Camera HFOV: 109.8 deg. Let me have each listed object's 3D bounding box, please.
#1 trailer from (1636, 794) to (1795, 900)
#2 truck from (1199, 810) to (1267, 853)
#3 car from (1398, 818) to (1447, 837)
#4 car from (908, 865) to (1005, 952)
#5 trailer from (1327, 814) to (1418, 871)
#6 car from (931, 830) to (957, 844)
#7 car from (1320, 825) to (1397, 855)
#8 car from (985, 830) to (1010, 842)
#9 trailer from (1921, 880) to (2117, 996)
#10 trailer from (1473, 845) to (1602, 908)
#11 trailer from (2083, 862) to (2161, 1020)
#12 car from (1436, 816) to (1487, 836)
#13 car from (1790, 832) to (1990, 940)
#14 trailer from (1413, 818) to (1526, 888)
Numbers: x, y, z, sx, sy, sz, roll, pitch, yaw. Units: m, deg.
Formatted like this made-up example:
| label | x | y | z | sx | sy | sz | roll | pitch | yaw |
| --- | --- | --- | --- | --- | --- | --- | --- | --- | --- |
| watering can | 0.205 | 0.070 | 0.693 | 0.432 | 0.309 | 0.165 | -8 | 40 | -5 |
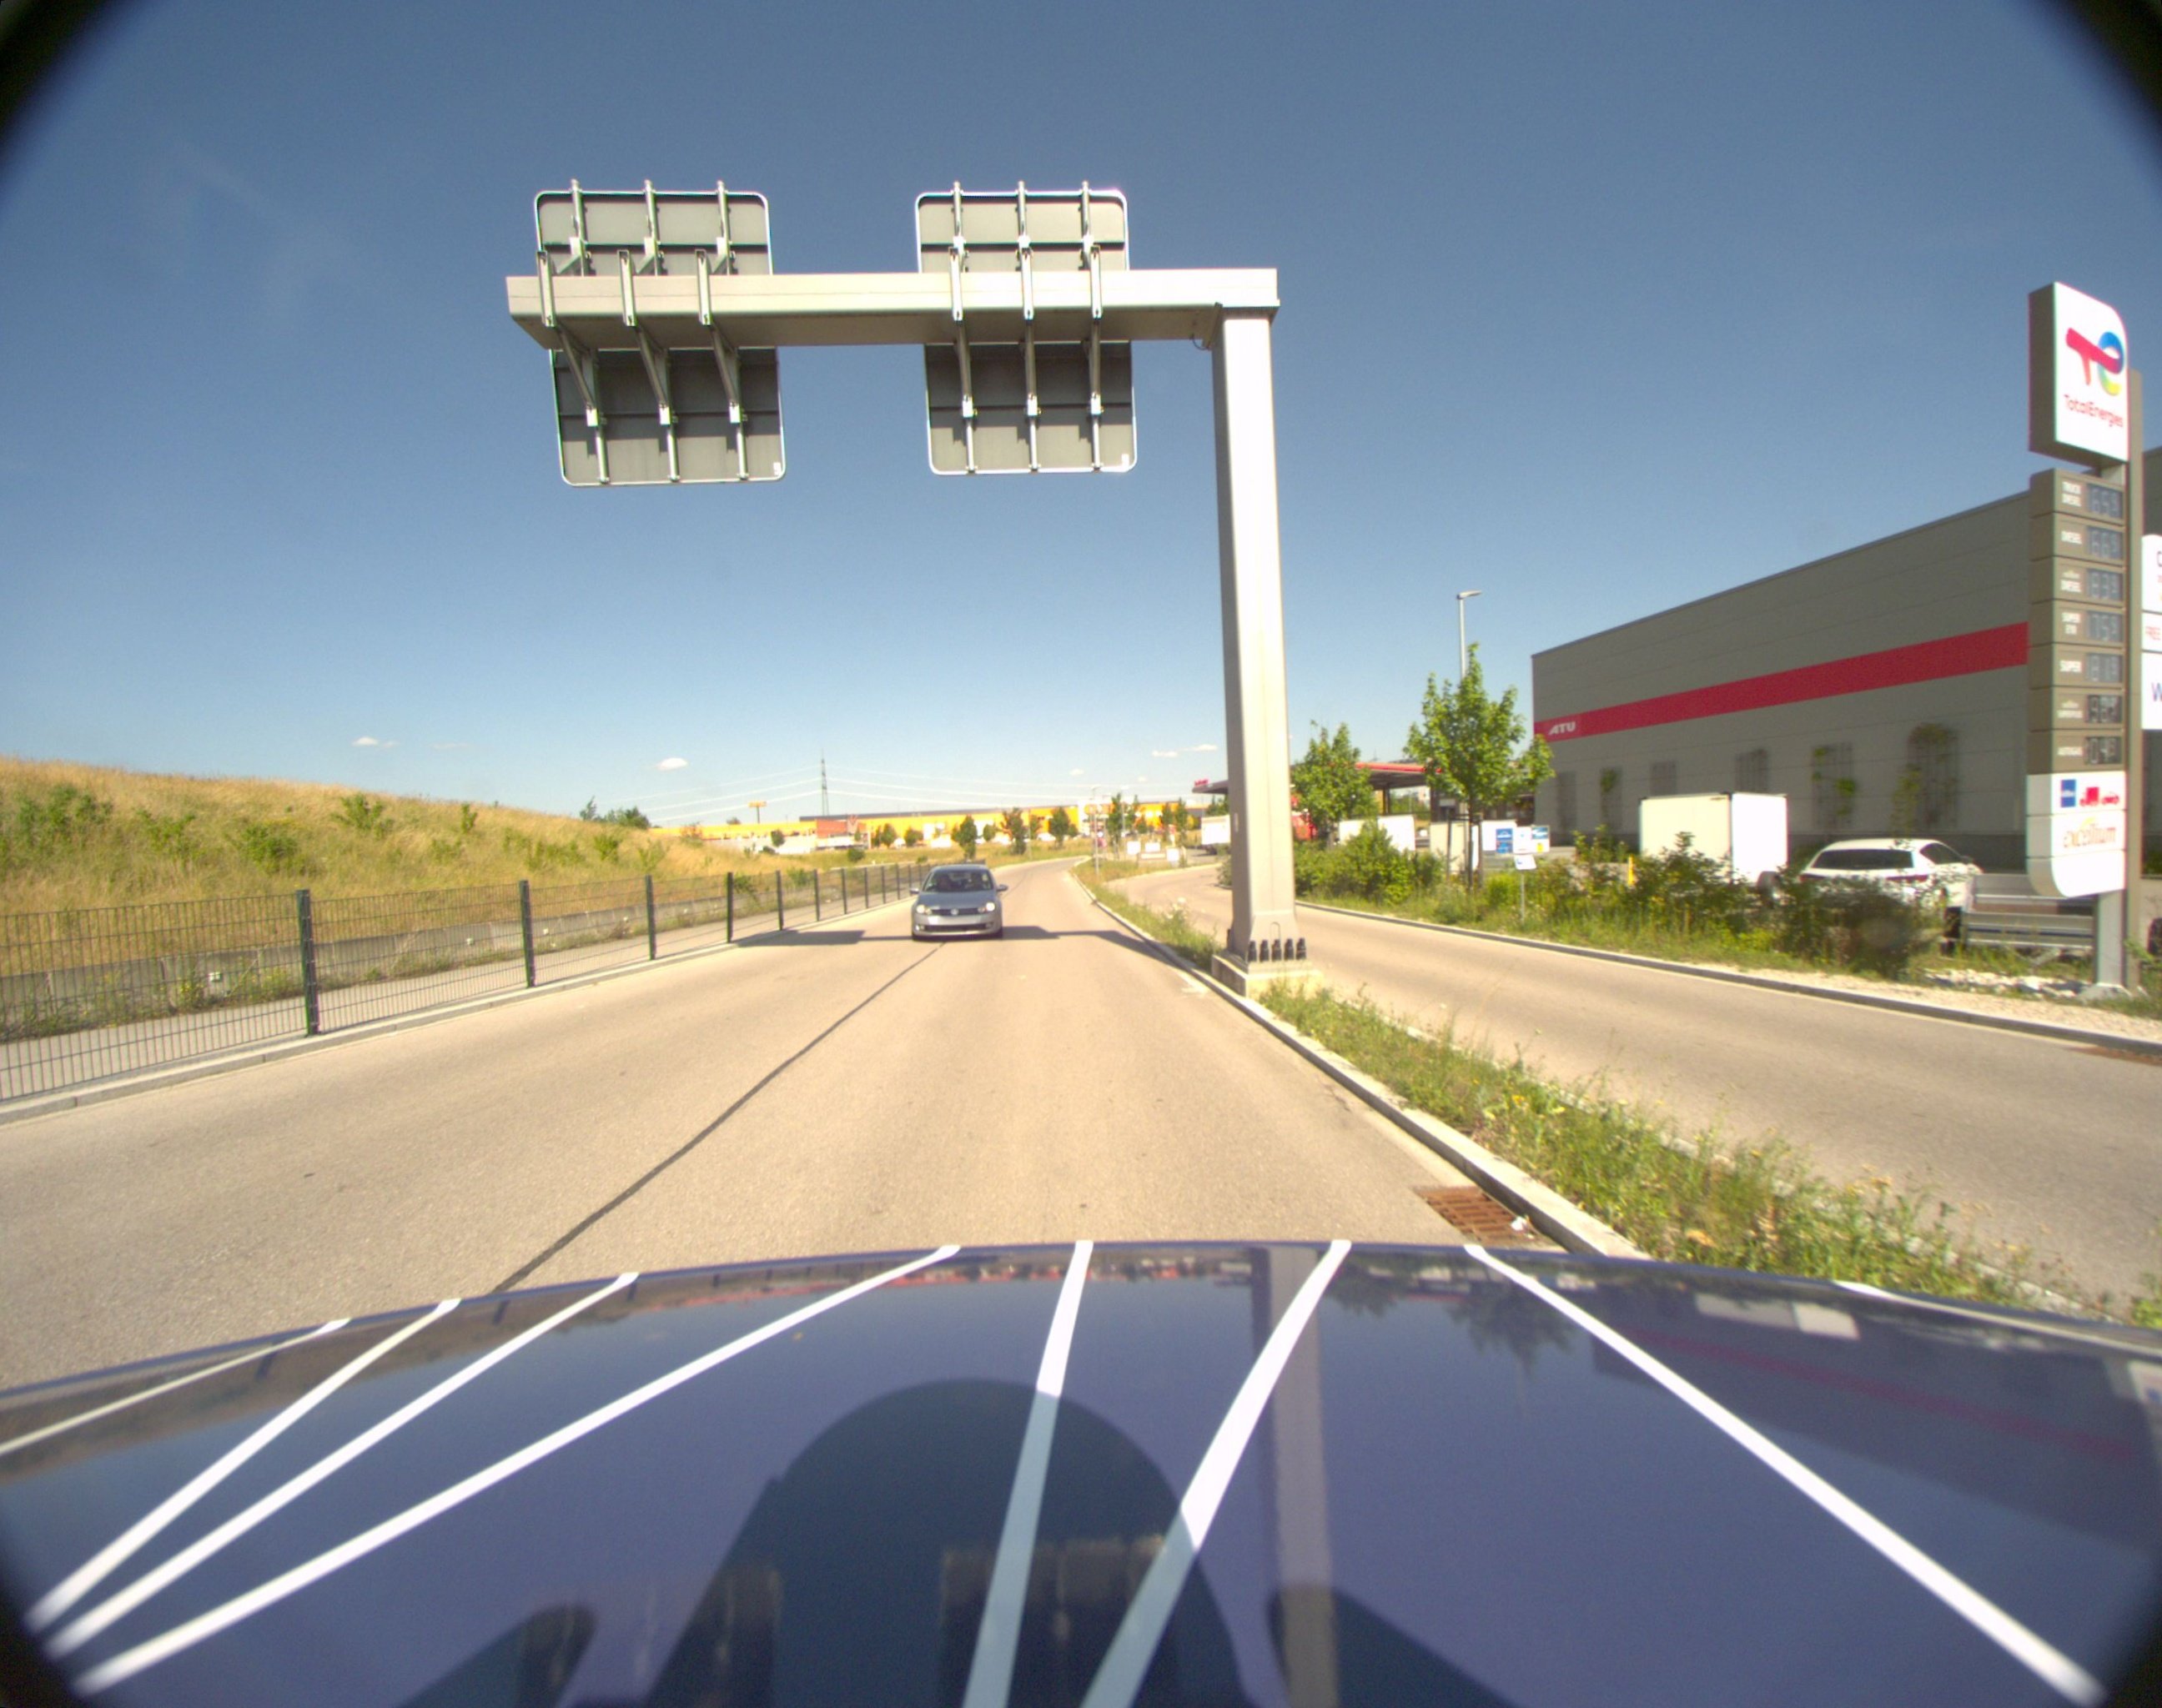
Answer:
| label | x | y | z | sx | sy | sz | roll | pitch | yaw |
| --- | --- | --- | --- | --- | --- | --- | --- | --- | --- |
| trailer | 13.601 | -0.197 | 16.256 | 3.245 | 2.002 | 1.743 | -4 | 2 | -34 |
| truck | 12.750 | -1.908 | 63.170 | 2.634 | 3.299 | 6.918 | -2 | 2 | 37 |
| car | 33.079 | -2.589 | 73.638 | 3.935 | 1.565 | 1.794 | -3 | 1 | -6 |
| car | -2.637 | 1.019 | 15.928 | 1.748 | 1.459 | 3.956 | -1 | 1 | -11 |
| trailer | 11.434 | -0.456 | 29.743 | 3.212 | 2.002 | 1.995 | -4 | 2 | -42 |
| car | -26.492 | -3.319 | 147.098 | 4.636 | 2.534 | 1.998 | -3 | 2 | -8 |
| car | 18.800 | -0.965 | 51.610 | 4.520 | 1.748 | 1.794 | -3 | 1 | -7 |
| car | -16.279 | -3.527 | 147.965 | 4.636 | 2.002 | 1.998 | -3 | 1 | -8 |
| trailer | 12.198 | 0.991 | 9.857 | 2.780 | 1.079 | 1.317 | -4 | 2 | -33 |
| trailer | 13.204 | 0.605 | 21.944 | 3.605 | 1.501 | 1.596 | -4 | 1 | -30 |
| trailer | 12.737 | 0.891 | 8.243 | 3.194 | 1.475 | 1.545 | -4 | 2 | -24 |
| car | 33.781 | -2.502 | 67.547 | 3.682 | 1.565 | 1.696 | -3 | 1 | 3 |
| car | 14.677 | 0.484 | 13.734 | 4.006 | 1.527 | 1.715 | -4 | 2 | -32 |
| trailer | 12.475 | -0.044 | 24.414 | 2.740 | 2.002 | 1.995 | -4 | 2 | -30 |
